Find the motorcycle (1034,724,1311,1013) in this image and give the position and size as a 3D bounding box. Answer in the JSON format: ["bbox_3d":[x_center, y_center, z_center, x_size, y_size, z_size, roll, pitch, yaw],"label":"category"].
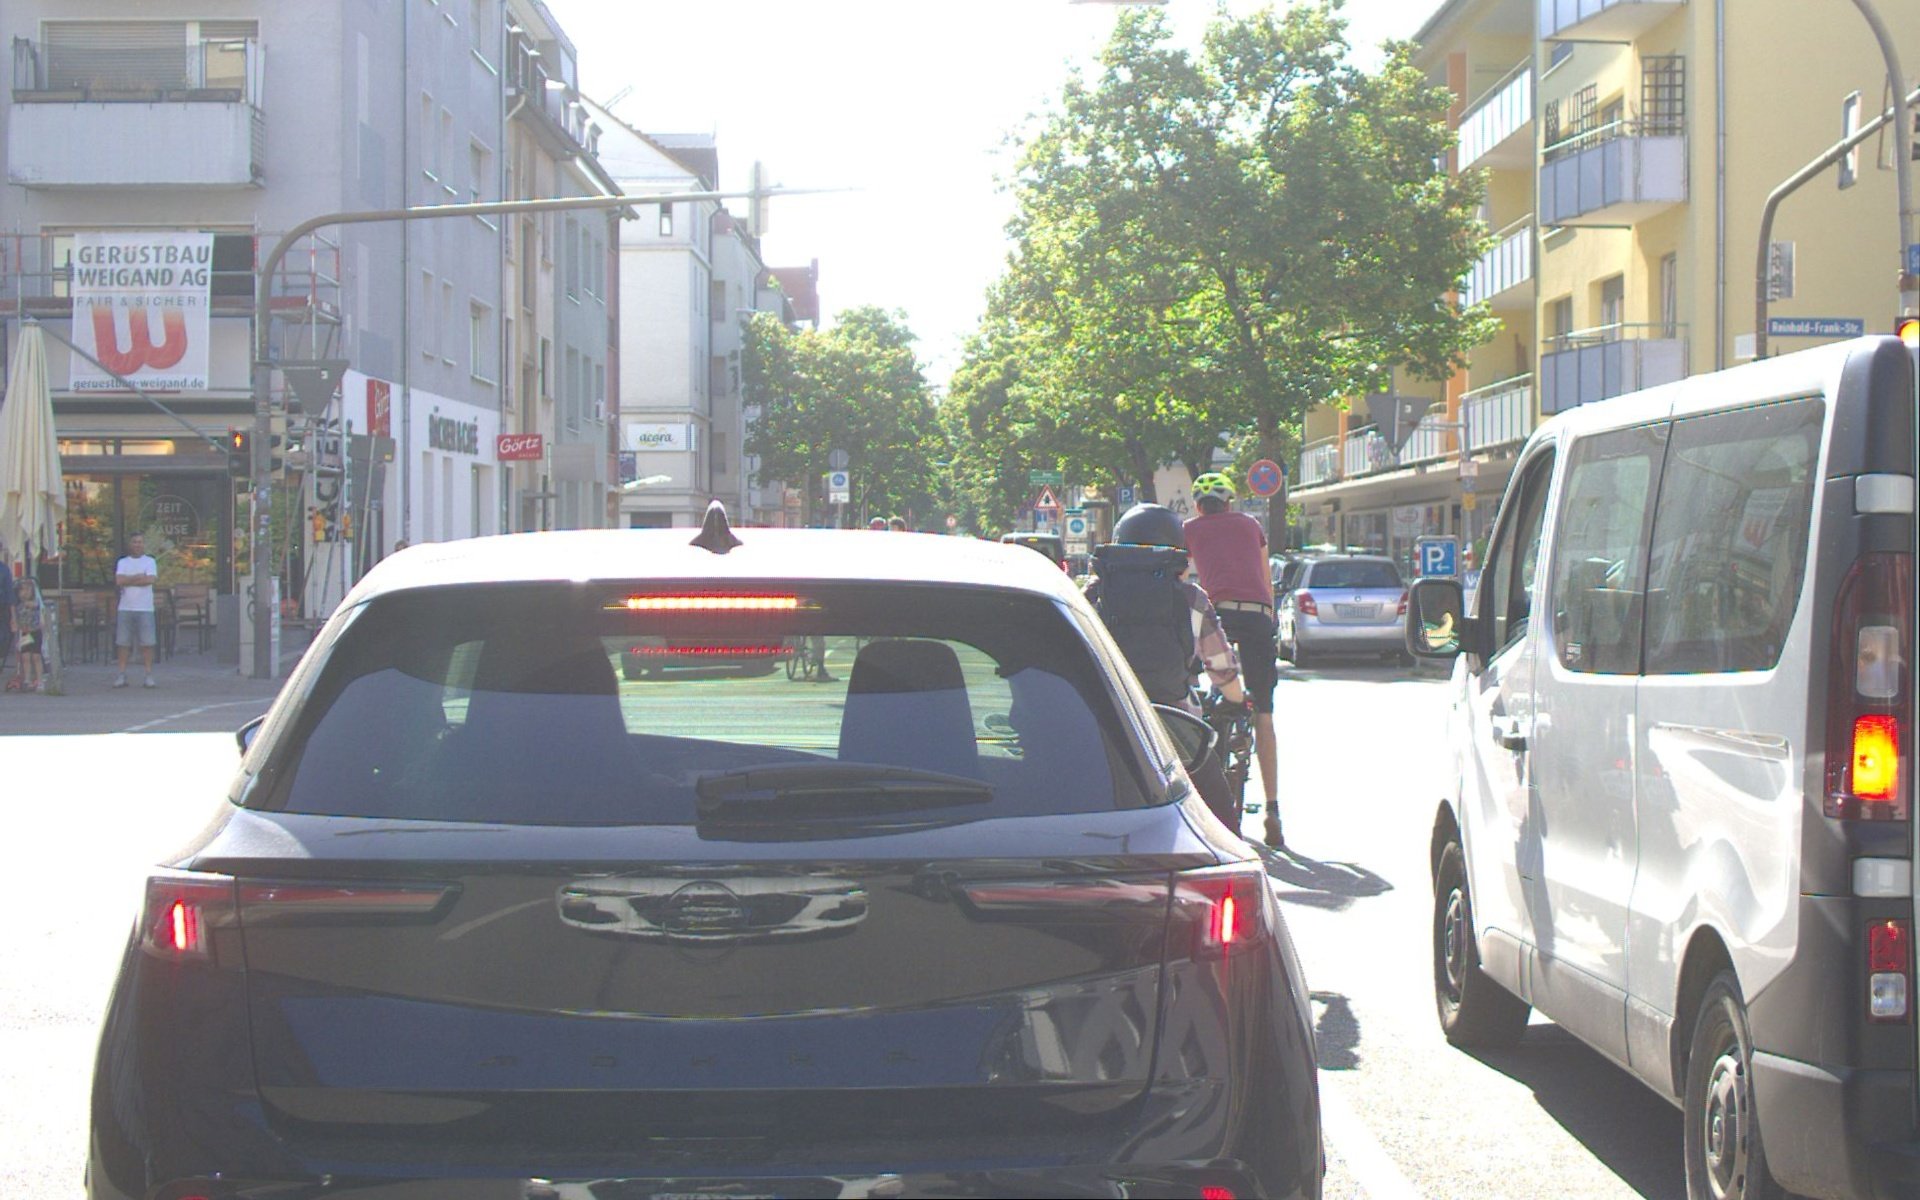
[{"bbox_3d":[0.713,0.909,12.134,0.825,0.842,1.885,0,1,-1],"label":"motorcycle"}]

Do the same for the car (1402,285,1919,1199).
[{"bbox_3d":[2.465,0.431,8.383,1.993,1.972,4.896,2,1,-1],"label":"car"}]

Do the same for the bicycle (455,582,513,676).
[{"bbox_3d":[-6.082,0.351,43.989,0.521,1.143,2.284,0,1,-2],"label":"bicycle"}]

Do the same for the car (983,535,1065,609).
[{"bbox_3d":[1.504,-0.692,82.211,1.902,1.722,4.073,0,1,0],"label":"car"}]

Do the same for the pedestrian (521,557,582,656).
[{"bbox_3d":[-5.177,0.078,43.571,0.707,1.249,0.802,0,1,-2],"label":"pedestrian"}]

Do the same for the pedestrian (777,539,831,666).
[{"bbox_3d":[-1.988,0.022,43.811,0.680,1.600,0.762,0,1,-2],"label":"pedestrian"}]

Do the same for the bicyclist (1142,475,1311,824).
[{"bbox_3d":[1.339,0.230,17.517,0.689,1.707,1.414,0,1,-2],"label":"bicyclist"}]

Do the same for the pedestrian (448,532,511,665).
[{"bbox_3d":[-6.089,-0.029,43.603,0.707,1.672,0.802,0,1,-2],"label":"pedestrian"}]

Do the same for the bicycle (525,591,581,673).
[{"bbox_3d":[-5.189,0.396,43.903,0.521,0.989,2.340,0,1,-2],"label":"bicycle"}]

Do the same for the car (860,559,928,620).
[{"bbox_3d":[-1.891,-0.325,100.022,1.825,1.722,4.000,0,1,1],"label":"car"}]

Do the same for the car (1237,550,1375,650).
[{"bbox_3d":[5.180,-0.029,51.870,1.634,1.428,4.000,0,1,-1],"label":"car"}]

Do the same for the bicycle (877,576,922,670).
[{"bbox_3d":[-0.775,0.278,43.562,0.521,1.143,2.170,0,1,-2],"label":"bicycle"}]

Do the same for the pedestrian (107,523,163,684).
[{"bbox_3d":[-9.134,0.034,38.072,0.561,1.769,0.584,0,1,-9],"label":"pedestrian"}]

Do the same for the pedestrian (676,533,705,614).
[{"bbox_3d":[-5.628,-0.551,71.814,0.570,1.684,0.588,0,1,-1],"label":"pedestrian"}]

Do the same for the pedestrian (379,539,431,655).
[{"bbox_3d":[-7.337,-0.047,45.460,0.617,1.516,0.725,0,1,-3],"label":"pedestrian"}]

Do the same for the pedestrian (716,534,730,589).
[{"bbox_3d":[-7.260,-1.183,105.147,0.402,1.669,0.418,0,1,-1],"label":"pedestrian"}]

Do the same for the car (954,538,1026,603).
[{"bbox_3d":[0.809,-0.826,93.189,1.902,1.722,4.000,0,1,0],"label":"car"}]

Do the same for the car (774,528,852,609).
[{"bbox_3d":[-3.669,-0.808,86.326,1.855,2.007,3.881,0,1,-1],"label":"car"}]

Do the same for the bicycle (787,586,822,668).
[{"bbox_3d":[-1.985,0.334,43.966,0.443,0.989,2.069,0,1,-2],"label":"bicycle"}]

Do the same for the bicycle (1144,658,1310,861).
[{"bbox_3d":[1.343,0.786,17.668,0.577,0.901,2.301,0,1,-2],"label":"bicycle"}]

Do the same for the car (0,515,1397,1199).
[{"bbox_3d":[-0.415,0.622,6.338,1.770,1.525,4.001,0,1,-2],"label":"car"}]

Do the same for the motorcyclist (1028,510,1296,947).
[{"bbox_3d":[0.704,0.432,12.377,0.864,1.497,1.160,0,1,-2],"label":"motorcyclist"}]

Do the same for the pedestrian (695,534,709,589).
[{"bbox_3d":[-7.929,-1.176,105.463,0.402,1.669,0.418,0,1,-1],"label":"pedestrian"}]

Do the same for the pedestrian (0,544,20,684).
[{"bbox_3d":[-10.599,0.147,37.432,0.584,1.516,0.650,0,1,-3],"label":"pedestrian"}]

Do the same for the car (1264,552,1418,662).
[{"bbox_3d":[5.187,0.067,47.236,1.634,1.428,3.957,0,1,-1],"label":"car"}]

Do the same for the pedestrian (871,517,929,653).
[{"bbox_3d":[-0.764,-0.195,43.433,0.707,1.695,0.802,0,1,-2],"label":"pedestrian"}]

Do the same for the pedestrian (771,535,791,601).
[{"bbox_3d":[-4.577,-0.826,88.058,0.488,1.684,0.588,0,1,-1],"label":"pedestrian"}]

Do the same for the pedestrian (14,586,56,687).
[{"bbox_3d":[-10.072,0.391,37.424,0.355,1.088,0.462,0,1,-3],"label":"pedestrian"}]
